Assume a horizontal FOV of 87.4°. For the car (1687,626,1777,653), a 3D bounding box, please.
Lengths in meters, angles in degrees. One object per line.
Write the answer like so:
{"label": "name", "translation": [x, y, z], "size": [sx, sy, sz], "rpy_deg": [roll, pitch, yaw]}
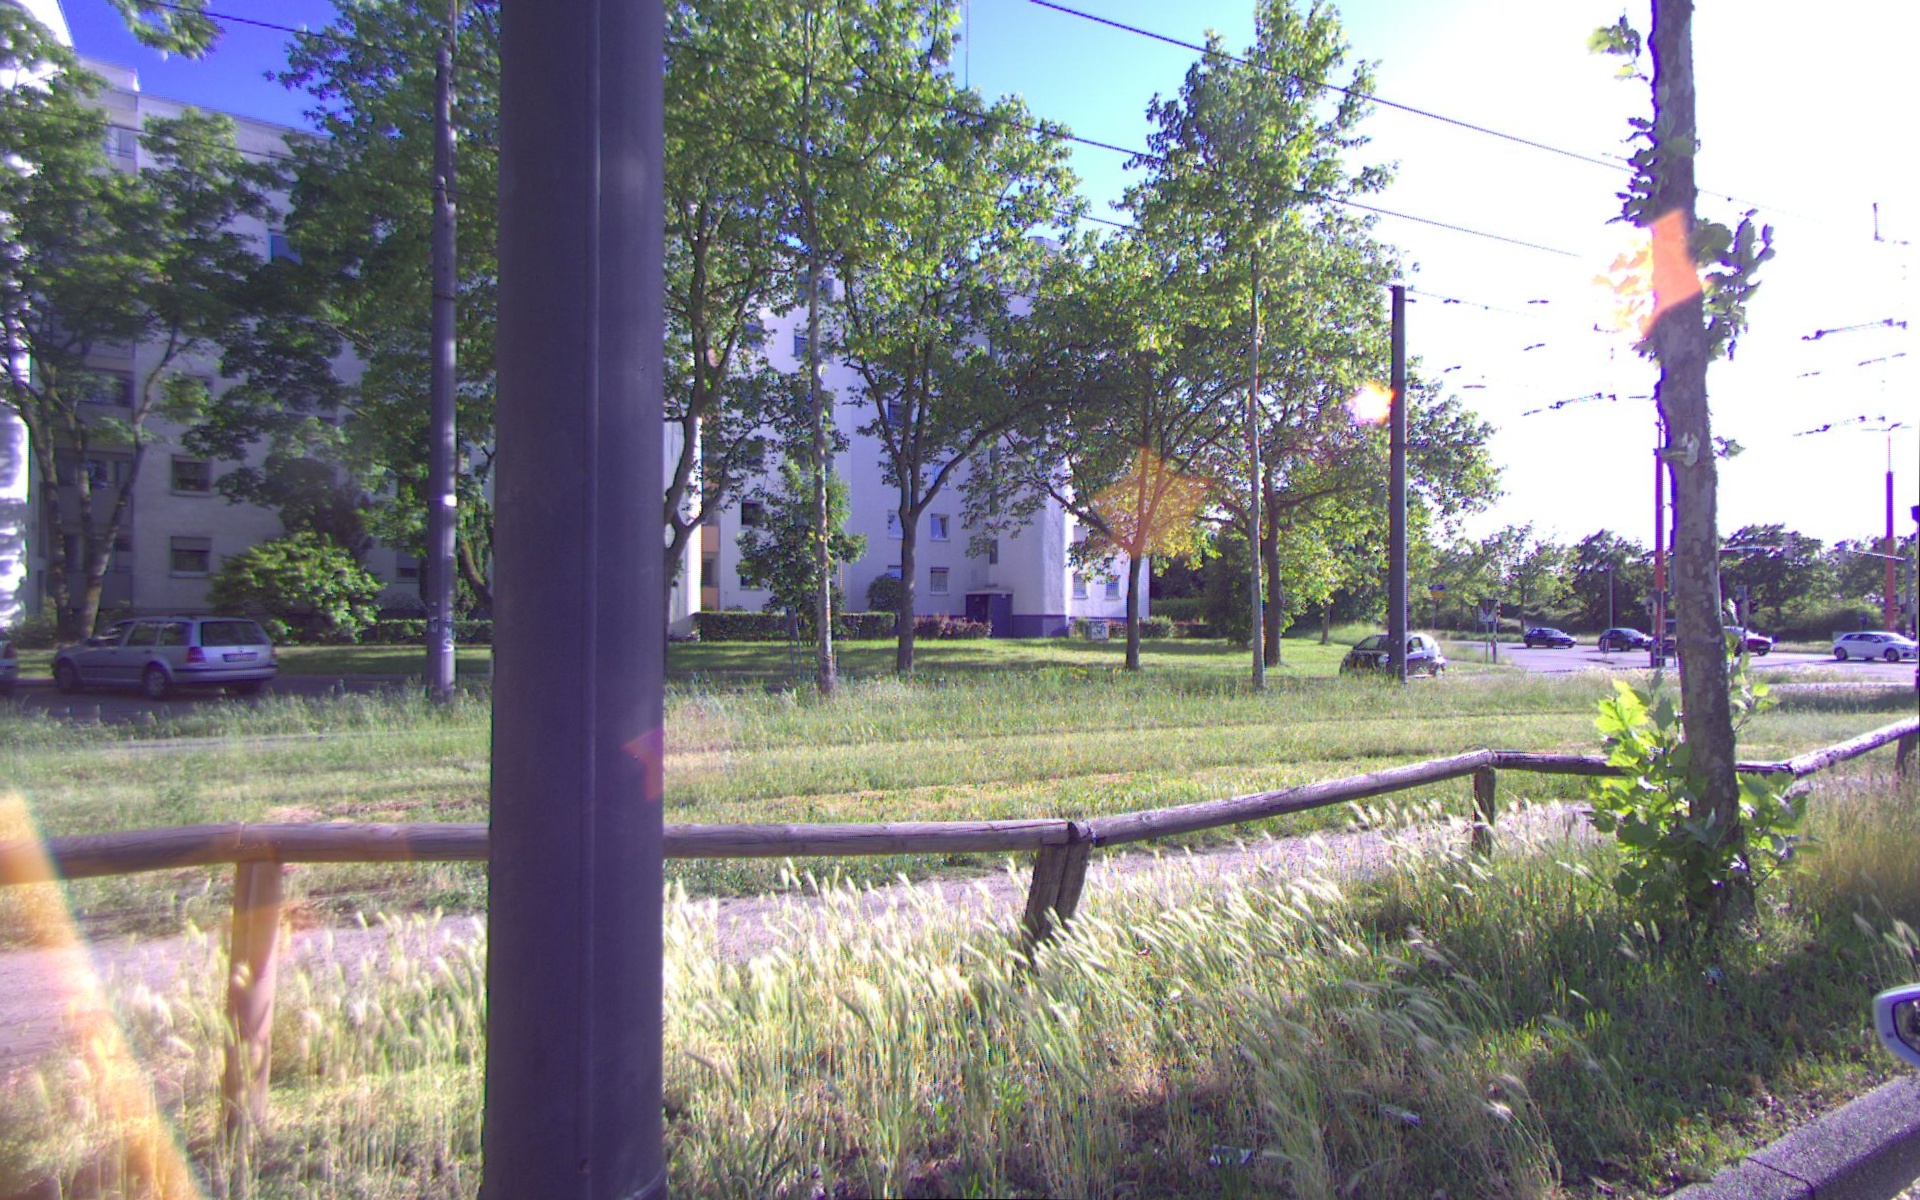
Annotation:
{"label": "car", "translation": [45.722, 2.298, 59.600], "size": [1.877, 1.483, 4.373], "rpy_deg": [1, -1, -2]}

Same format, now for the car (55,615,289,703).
{"label": "car", "translation": [-14.475, 1.030, 18.482], "size": [3.609, 1.452, 1.732], "rpy_deg": [0, -1, 20]}

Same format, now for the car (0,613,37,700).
{"label": "car", "translation": [-17.919, 0.931, 17.138], "size": [3.609, 1.452, 1.703], "rpy_deg": [0, -1, 20]}

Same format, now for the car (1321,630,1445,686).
{"label": "car", "translation": [11.956, 1.577, 28.332], "size": [3.729, 1.439, 1.805], "rpy_deg": [2, -1, -41]}

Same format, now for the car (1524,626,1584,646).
{"label": "car", "translation": [45.321, 2.729, 76.760], "size": [1.877, 1.483, 4.239], "rpy_deg": [1, -1, -3]}

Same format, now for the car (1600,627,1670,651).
{"label": "car", "translation": [45.436, 2.587, 67.730], "size": [1.877, 1.483, 4.055], "rpy_deg": [1, -1, -3]}

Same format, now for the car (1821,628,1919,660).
{"label": "car", "translation": [46.079, 2.207, 50.503], "size": [1.877, 1.483, 4.222], "rpy_deg": [1, -1, -2]}
